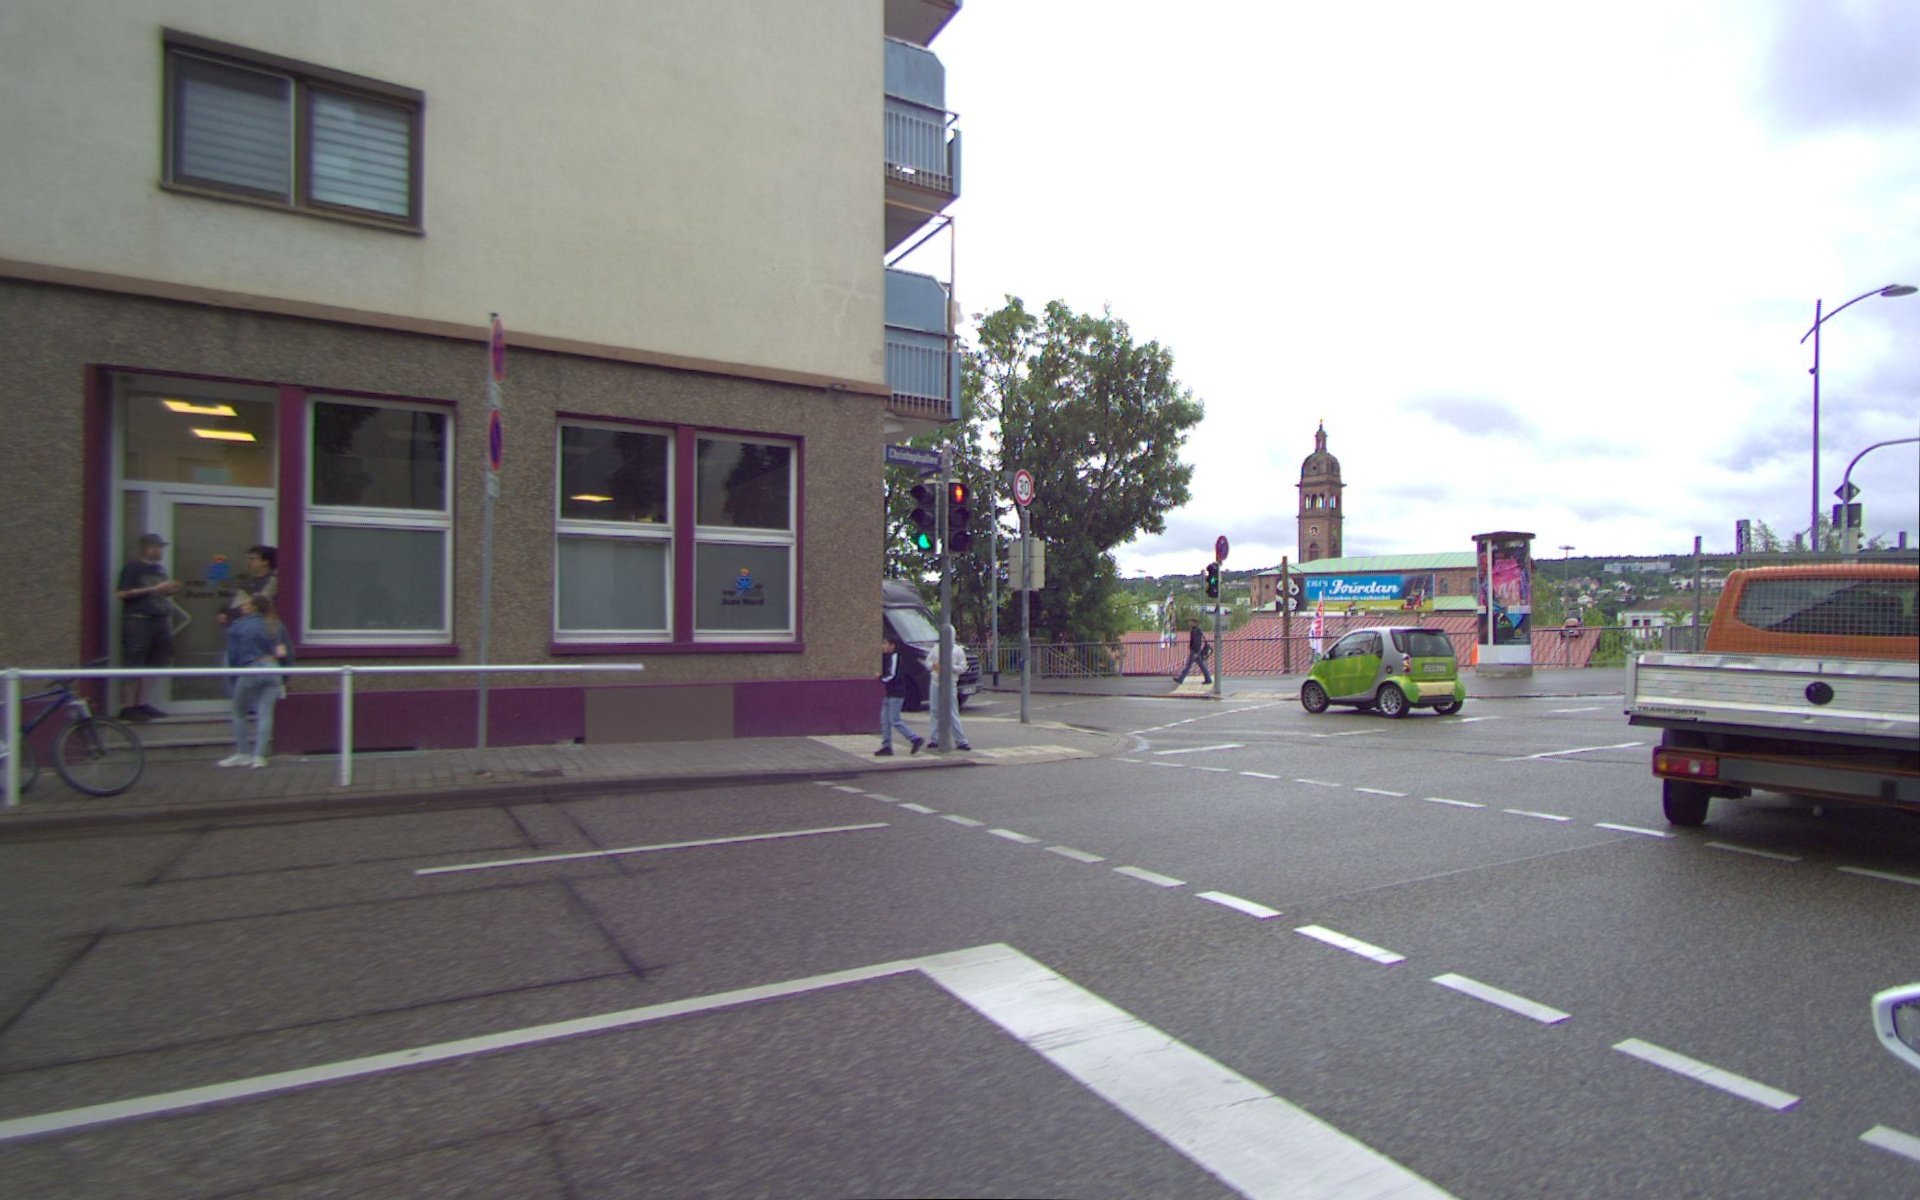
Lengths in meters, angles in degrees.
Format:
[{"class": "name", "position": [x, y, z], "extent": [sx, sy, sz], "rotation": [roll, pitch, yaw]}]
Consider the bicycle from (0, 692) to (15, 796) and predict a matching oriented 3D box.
[{"class": "bicycle", "position": [-8.155, 1.116, 7.607], "extent": [1.405, 0.793, 0.263], "rotation": [2, -2, -30]}]

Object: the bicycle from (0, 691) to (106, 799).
[{"class": "bicycle", "position": [-7.353, 1.118, 7.756], "extent": [1.098, 0.793, 0.263], "rotation": [2, -2, -30]}]

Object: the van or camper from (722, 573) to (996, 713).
[{"class": "van or camper", "position": [-2.395, 0.927, 22.503], "extent": [6.376, 2.766, 1.994], "rotation": [-1, -2, 35]}]

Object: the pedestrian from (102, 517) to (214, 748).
[{"class": "pedestrian", "position": [-7.760, 0.319, 9.757], "extent": [0.722, 2.127, 0.707], "rotation": [2, -2, -33]}]

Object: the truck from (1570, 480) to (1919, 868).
[{"class": "truck", "position": [6.866, 0.507, 7.826], "extent": [5.279, 2.157, 2.376], "rotation": [3, -3, -44]}]

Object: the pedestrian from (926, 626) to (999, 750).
[{"class": "pedestrian", "position": [0.026, 1.064, 12.429], "extent": [0.653, 1.477, 0.639], "rotation": [2, -2, -31]}]

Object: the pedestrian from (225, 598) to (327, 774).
[{"class": "pedestrian", "position": [-6.388, 0.785, 9.411], "extent": [0.732, 1.574, 0.571], "rotation": [2, -2, -33]}]

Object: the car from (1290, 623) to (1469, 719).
[{"class": "car", "position": [7.426, 1.211, 17.971], "extent": [1.510, 1.567, 2.650], "rotation": [1, -2, -25]}]

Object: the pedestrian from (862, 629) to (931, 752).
[{"class": "pedestrian", "position": [-0.760, 1.056, 11.933], "extent": [0.641, 1.406, 0.542], "rotation": [1, -2, -28]}]

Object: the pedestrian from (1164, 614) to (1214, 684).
[{"class": "pedestrian", "position": [6.003, 1.271, 26.310], "extent": [1.052, 1.780, 1.062], "rotation": [0, -2, 26]}]

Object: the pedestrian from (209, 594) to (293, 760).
[{"class": "pedestrian", "position": [-7.153, 0.760, 10.162], "extent": [0.582, 1.598, 0.770], "rotation": [2, -2, -30]}]
